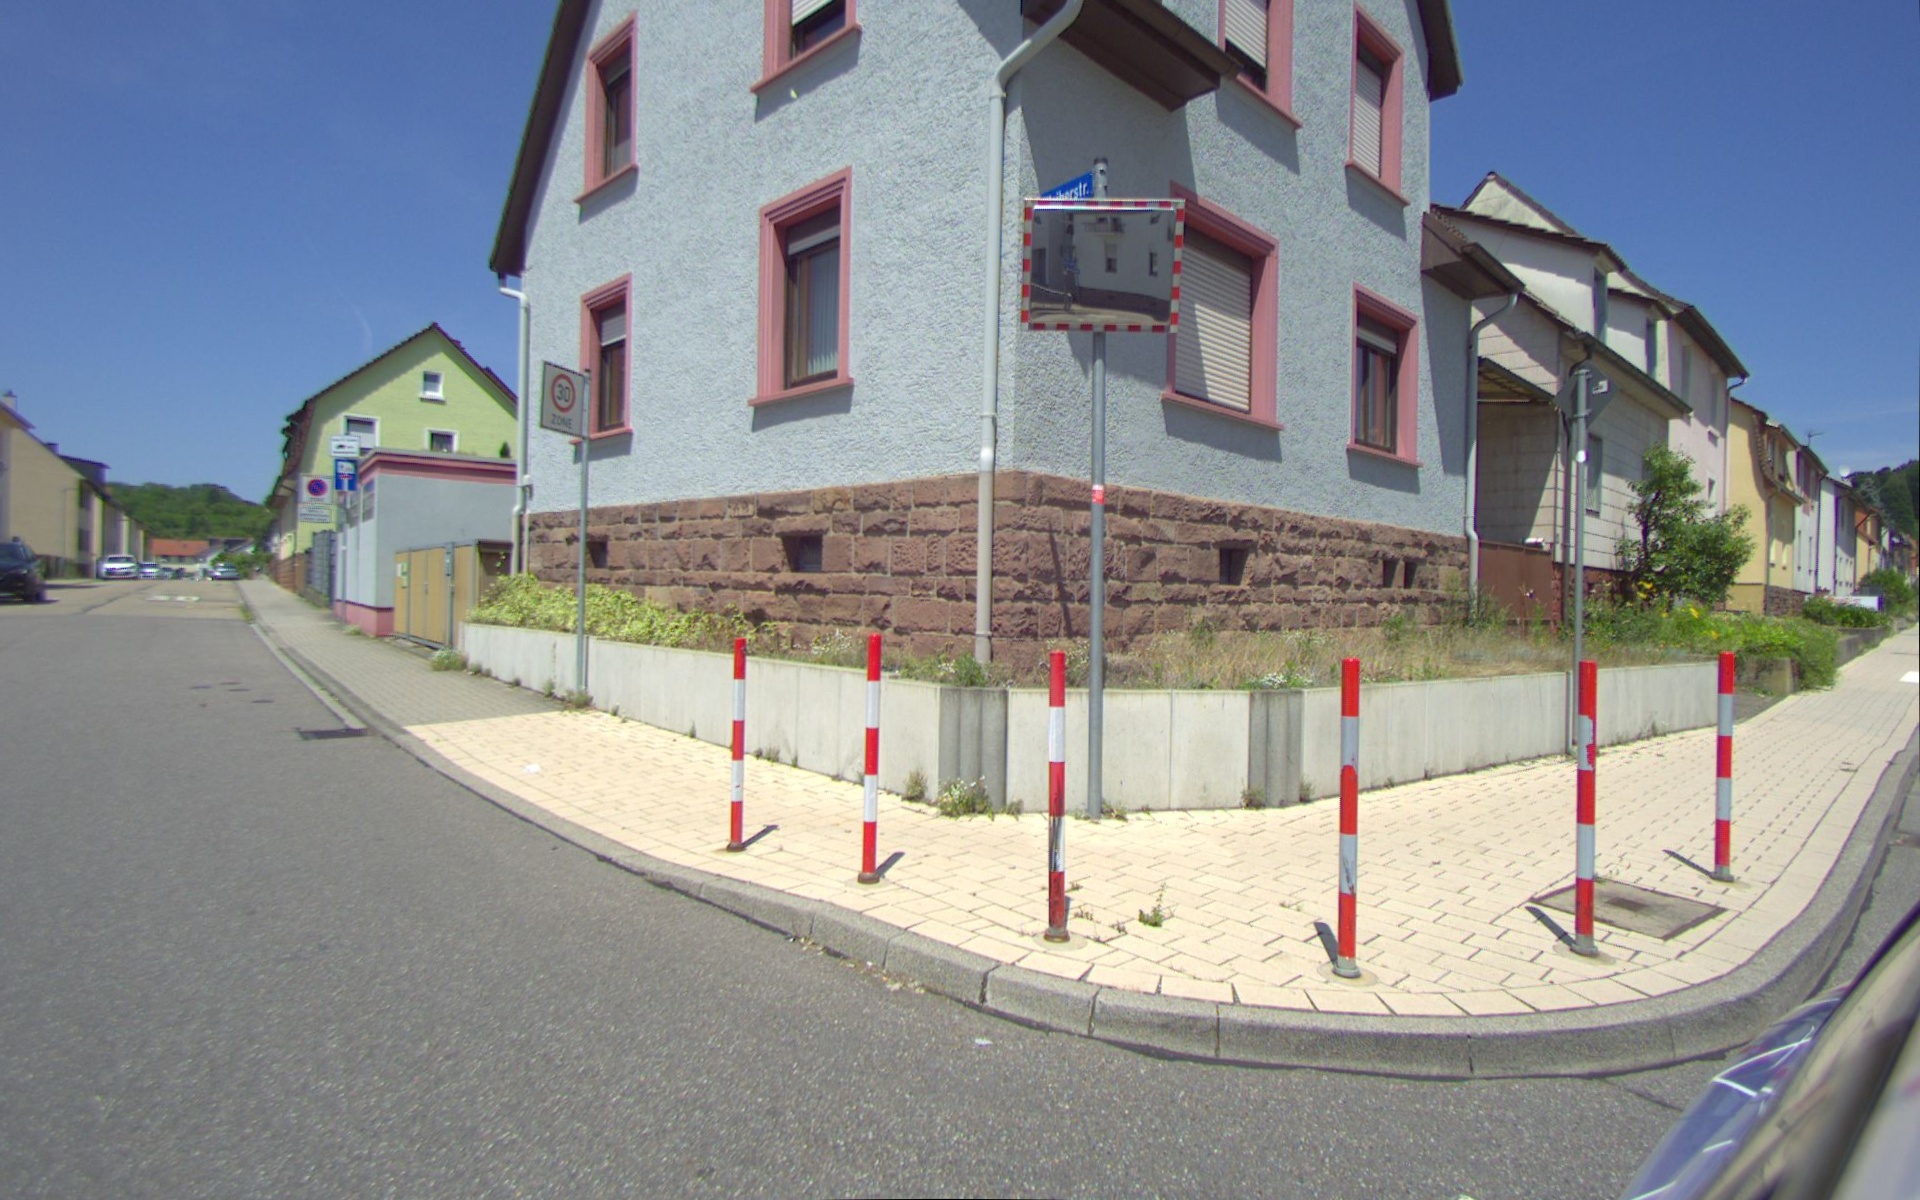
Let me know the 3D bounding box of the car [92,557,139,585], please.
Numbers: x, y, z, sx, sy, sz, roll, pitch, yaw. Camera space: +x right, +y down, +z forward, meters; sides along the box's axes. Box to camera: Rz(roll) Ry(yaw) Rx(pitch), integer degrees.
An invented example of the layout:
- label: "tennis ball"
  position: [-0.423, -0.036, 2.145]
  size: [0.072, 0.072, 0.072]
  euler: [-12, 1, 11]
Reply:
- label: "car"
  position: [-51.271, -1.764, 61.494]
  size: [1.963, 1.615, 3.999]
  euler: [-1, 2, -37]

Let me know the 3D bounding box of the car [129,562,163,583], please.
- label: "car"
  position: [-64.668, -2.184, 80.413]
  size: [1.963, 1.615, 3.999]
  euler: [-1, 2, -37]

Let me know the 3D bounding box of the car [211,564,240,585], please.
- label: "car"
  position: [-59.847, -2.111, 82.466]
  size: [1.804, 1.615, 3.883]
  euler: [-1, 2, -37]

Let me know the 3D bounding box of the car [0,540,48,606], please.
- label: "car"
  position: [-25.200, -0.722, 26.220]
  size: [1.963, 1.615, 3.999]
  euler: [-1, 2, -37]

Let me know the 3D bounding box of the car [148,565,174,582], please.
- label: "car"
  position: [-80.217, -2.672, 101.616]
  size: [1.963, 1.615, 3.999]
  euler: [-1, 2, -37]
